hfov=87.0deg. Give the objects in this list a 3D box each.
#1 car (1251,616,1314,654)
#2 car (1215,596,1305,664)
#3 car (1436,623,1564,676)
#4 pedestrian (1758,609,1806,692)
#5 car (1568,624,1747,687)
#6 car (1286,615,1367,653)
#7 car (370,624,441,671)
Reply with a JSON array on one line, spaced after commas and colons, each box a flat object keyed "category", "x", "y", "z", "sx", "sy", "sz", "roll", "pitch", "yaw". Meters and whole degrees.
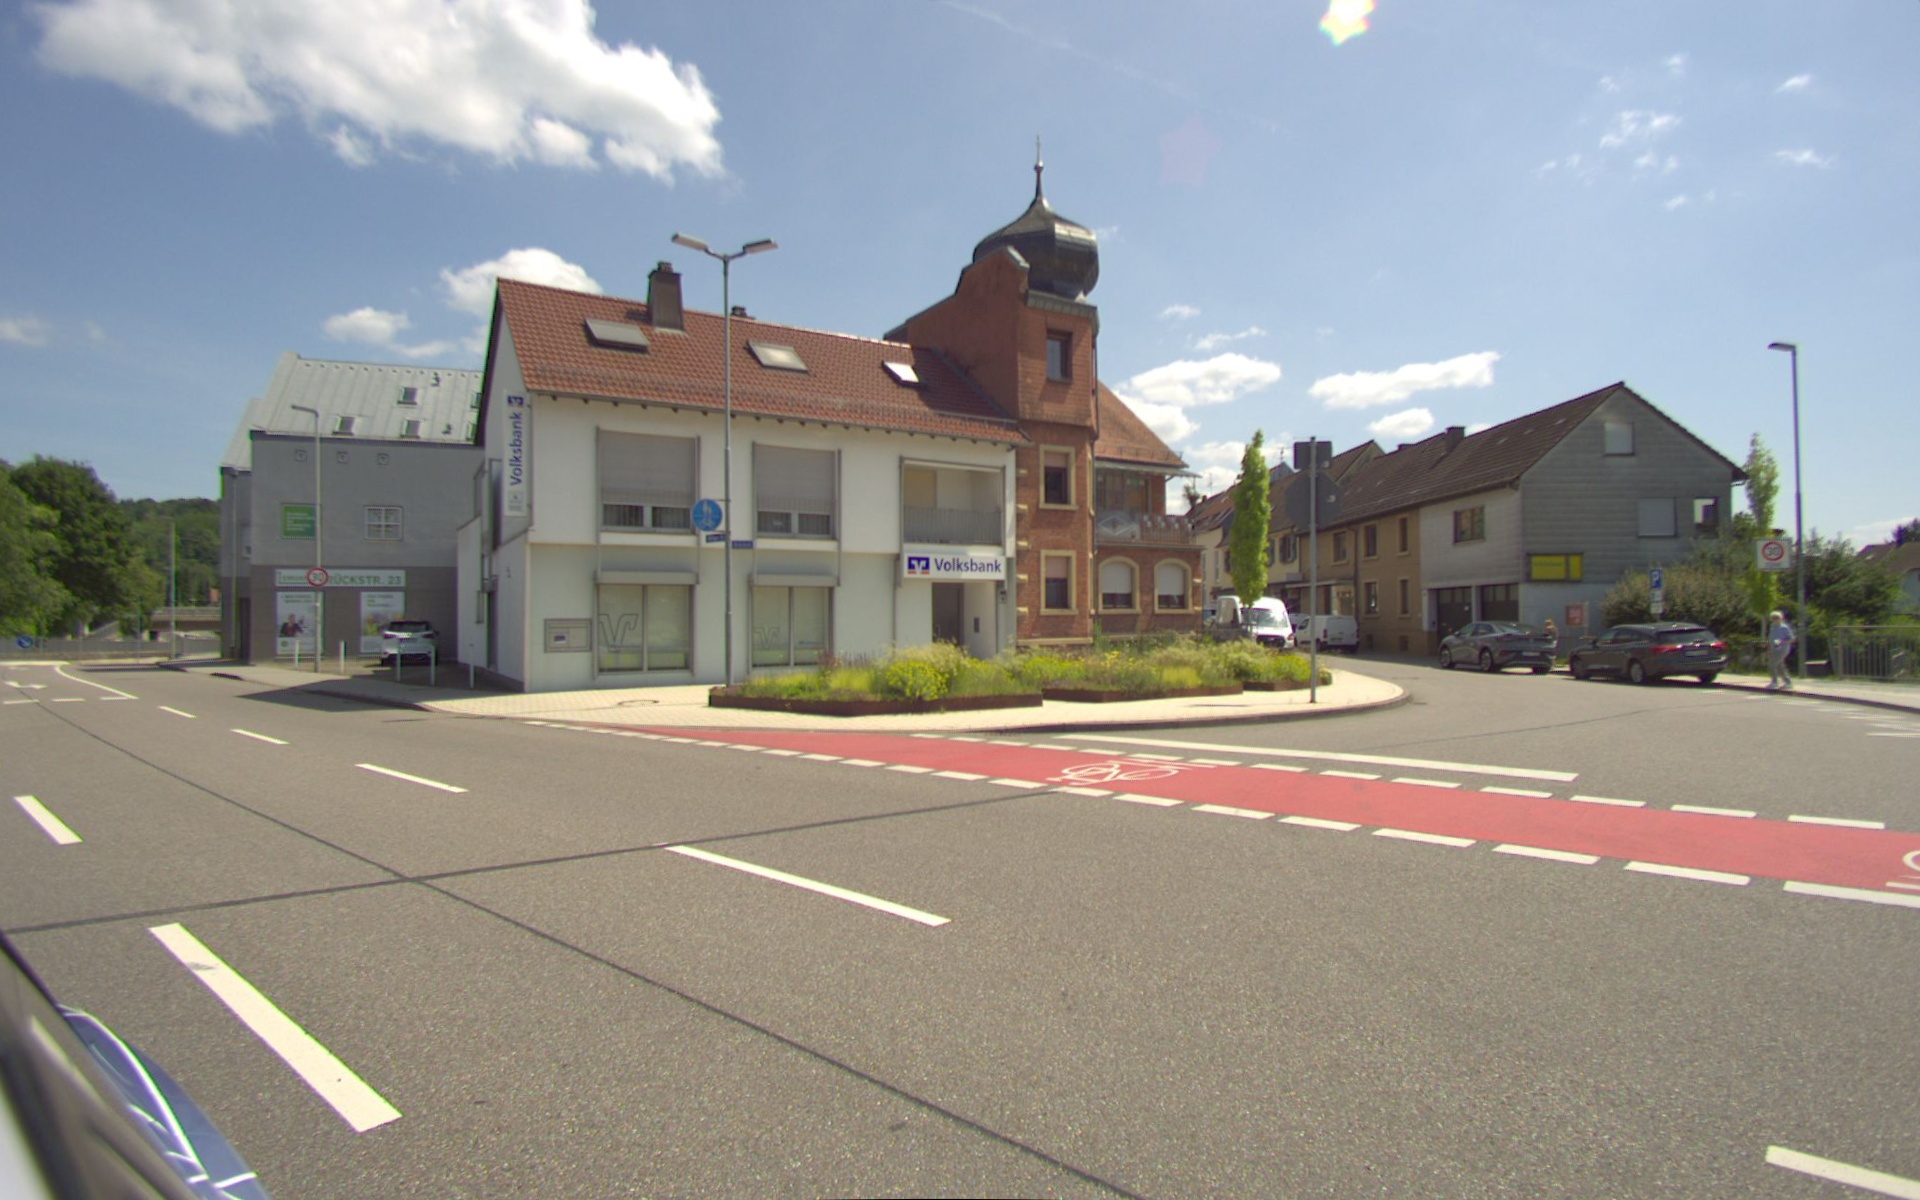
[{"category": "car", "x": 16.888, "y": 1.812, "z": 53.201, "sx": 1.895, "sy": 1.892, "sz": 4.002, "roll": 1, "pitch": -2, "yaw": -3}, {"category": "car", "x": 11.133, "y": 1.122, "z": 37.986, "sx": 2.145, "sy": 2.363, "sz": 5.105, "roll": 0, "pitch": -2, "yaw": 4}, {"category": "car", "x": 16.951, "y": 1.517, "z": 32.045, "sx": 1.763, "sy": 1.559, "sz": 4.233, "roll": 1, "pitch": -2, "yaw": 0}, {"category": "pedestrian", "x": 17.733, "y": 1.088, "z": 21.834, "sx": 0.500, "sy": 1.762, "sz": 0.613, "roll": -1, "pitch": -1, "yaw": 6}, {"category": "car", "x": 17.593, "y": 1.362, "z": 25.780, "sx": 1.836, "sy": 1.475, "sz": 3.997, "roll": -1, "pitch": -2, "yaw": 2}, {"category": "car", "x": 17.337, "y": 1.606, "z": 48.098, "sx": 2.037, "sy": 1.741, "sz": 4.005, "roll": 1, "pitch": -2, "yaw": -6}, {"category": "car", "x": -19.899, "y": 1.713, "z": 36.498, "sx": 1.965, "sy": 1.587, "sz": 4.266, "roll": 1, "pitch": -3, "yaw": -25}]
